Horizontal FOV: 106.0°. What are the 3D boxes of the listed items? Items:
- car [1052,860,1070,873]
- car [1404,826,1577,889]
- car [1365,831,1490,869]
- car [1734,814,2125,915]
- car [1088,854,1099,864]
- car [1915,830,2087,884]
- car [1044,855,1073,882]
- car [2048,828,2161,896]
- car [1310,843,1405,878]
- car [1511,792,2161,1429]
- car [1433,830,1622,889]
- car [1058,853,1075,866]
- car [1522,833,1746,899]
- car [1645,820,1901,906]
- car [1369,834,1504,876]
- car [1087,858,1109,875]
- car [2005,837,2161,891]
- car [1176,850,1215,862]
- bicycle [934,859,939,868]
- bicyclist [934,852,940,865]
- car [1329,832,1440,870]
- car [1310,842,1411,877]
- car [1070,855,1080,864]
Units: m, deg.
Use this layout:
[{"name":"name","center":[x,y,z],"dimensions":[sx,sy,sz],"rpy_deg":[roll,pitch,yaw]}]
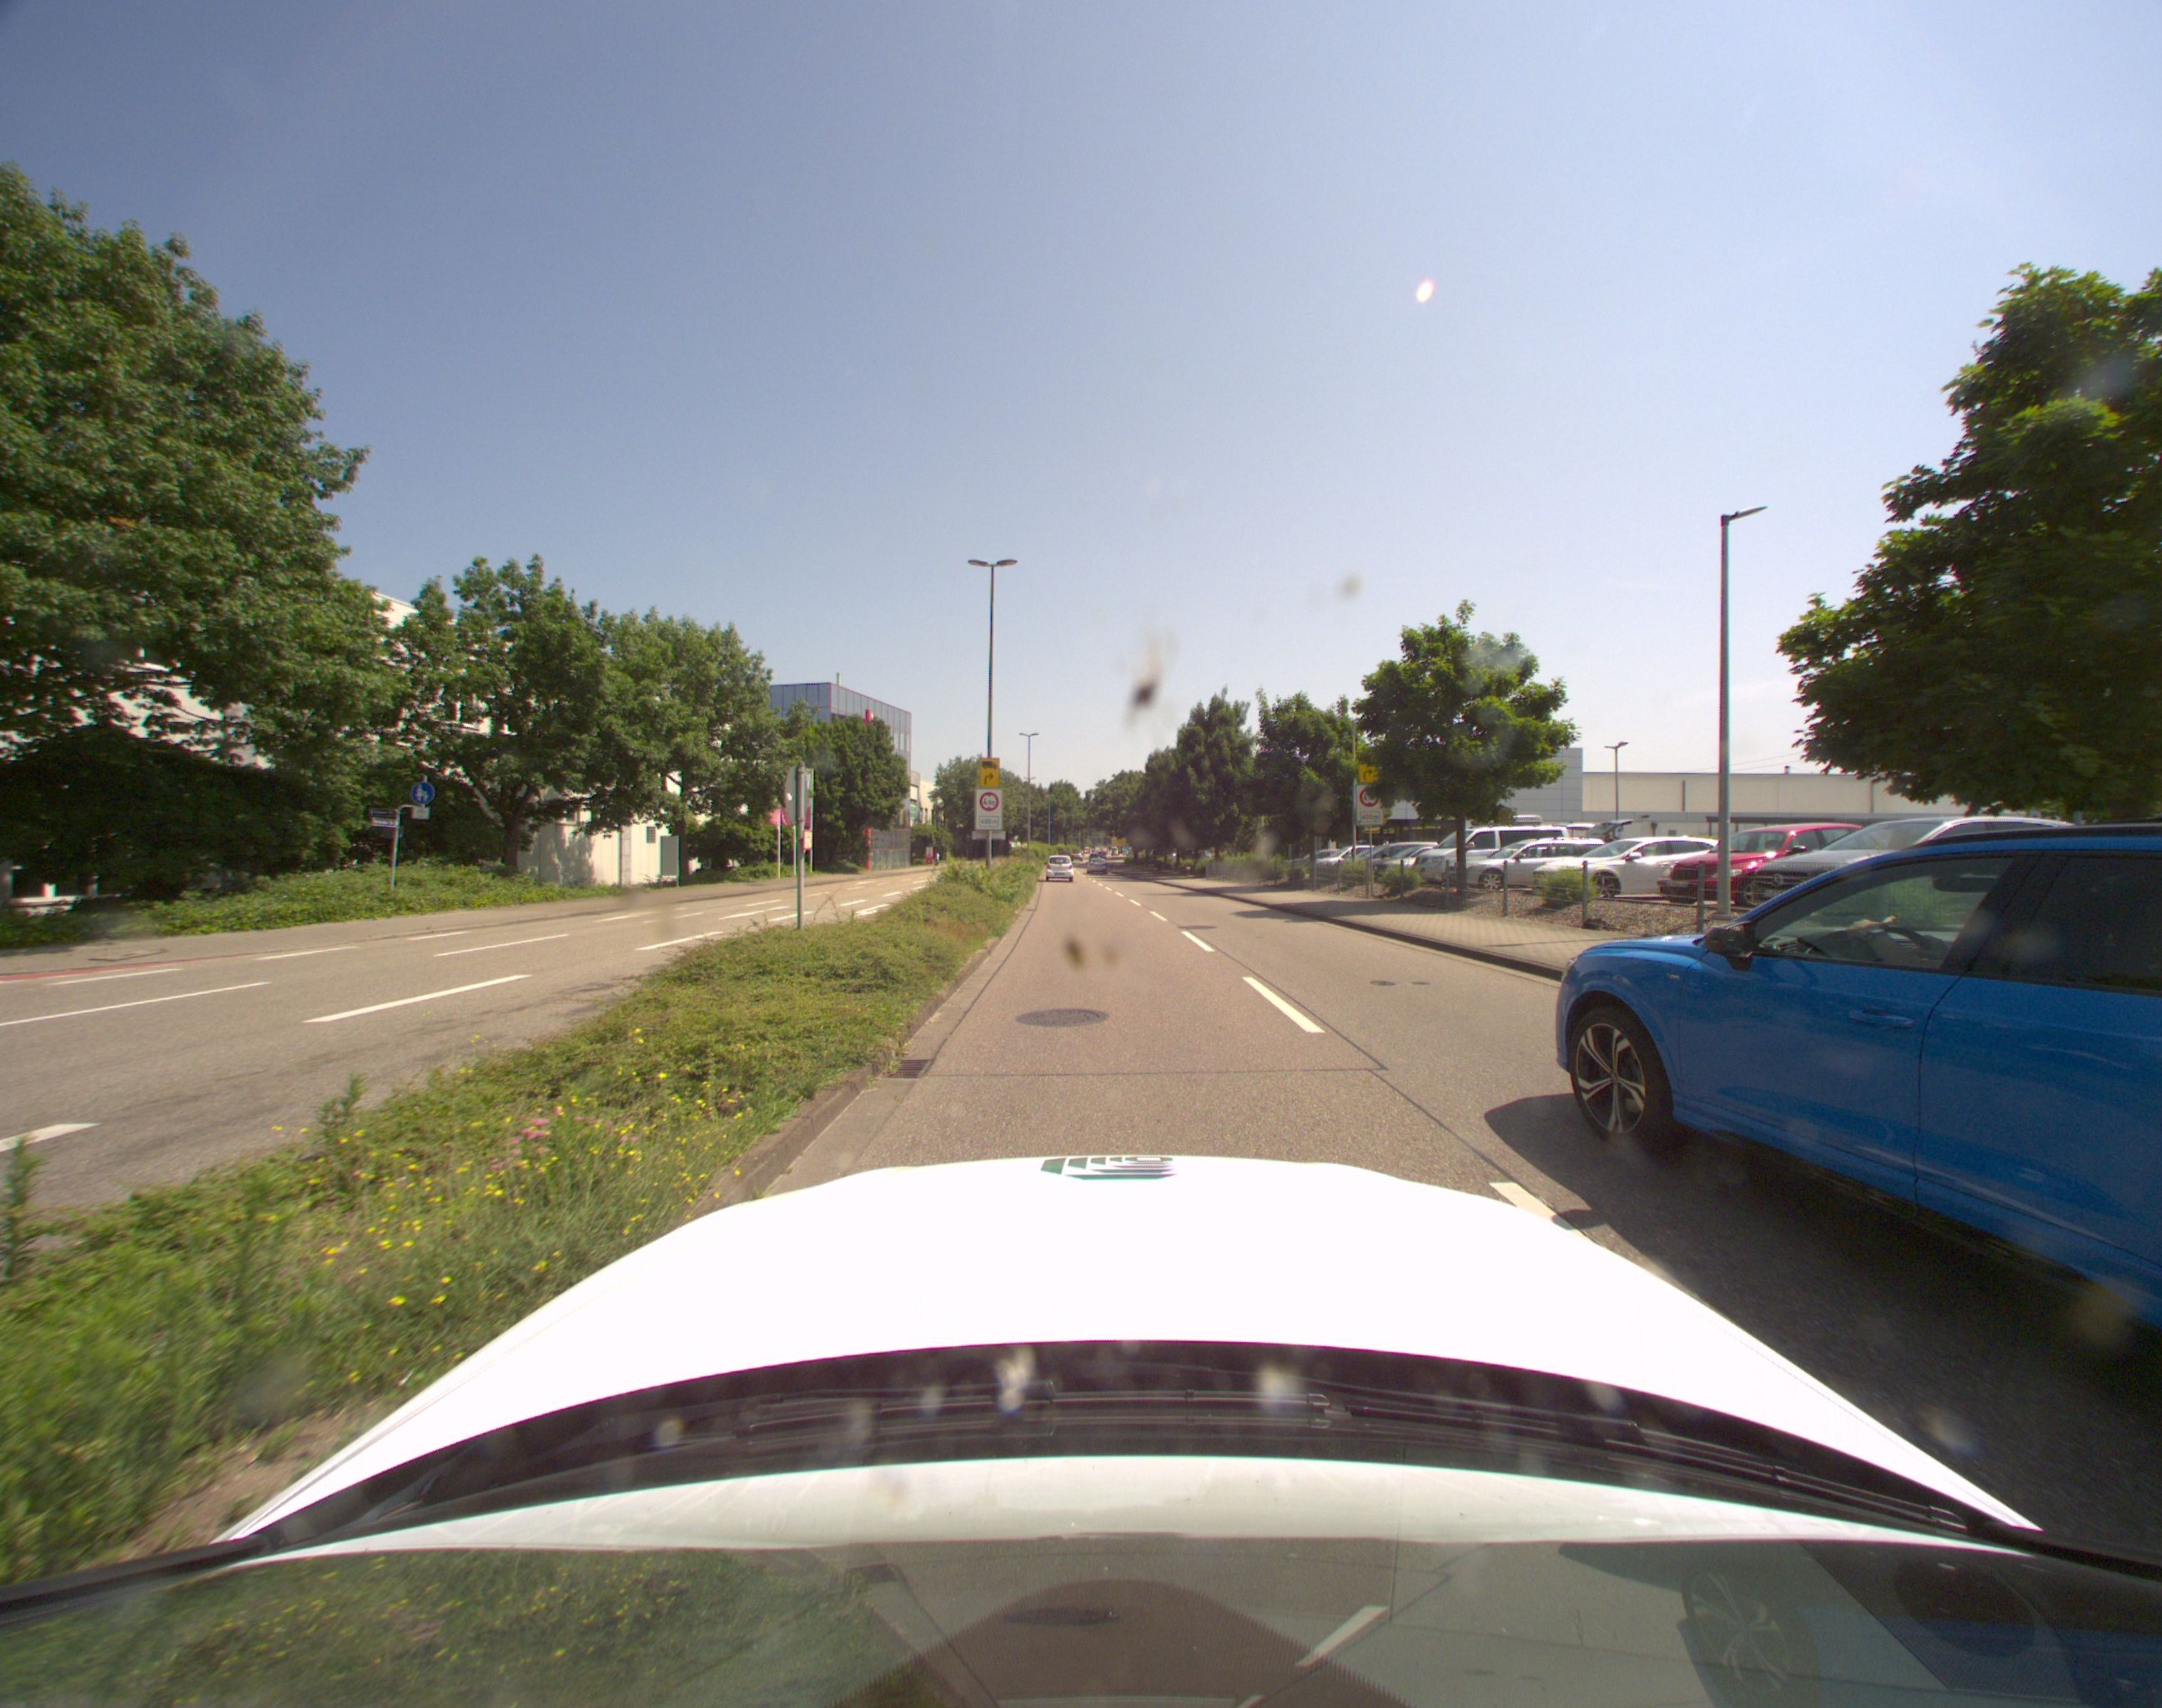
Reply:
[{"name":"car","center":[-2.117,1.305,87.024],"dimensions":[1.879,1.354,3.999],"rpy_deg":[1,0,0]},{"name":"car","center":[12.905,0.105,25.860],"dimensions":[4.603,1.924,1.826],"rpy_deg":[0,0,-1]},{"name":"car","center":[13.065,-0.141,30.861],"dimensions":[3.975,1.389,1.826],"rpy_deg":[0,0,-1]},{"name":"car","center":[12.695,0.147,12.388],"dimensions":[4.155,1.421,1.698],"rpy_deg":[0,0,1]},{"name":"car","center":[1.832,0.725,117.852],"dimensions":[1.437,1.348,3.457],"rpy_deg":[-1,0,-2]},{"name":"car","center":[26.504,0.088,23.609],"dimensions":[1.261,1.420,3.250],"rpy_deg":[-1,0,-2]},{"name":"car","center":[-1.289,0.844,48.423],"dimensions":[1.633,1.552,3.324],"rpy_deg":[1,0,0]},{"name":"car","center":[23.335,0.141,16.894],"dimensions":[1.724,1.420,3.997],"rpy_deg":[-1,0,-2]},{"name":"car","center":[13.311,0.323,39.389],"dimensions":[3.980,1.596,1.824],"rpy_deg":[1,0,-5]},{"name":"car","center":[3.589,0.619,2.909],"dimensions":[1.803,1.593,4.349],"rpy_deg":[-2,0,0]},{"name":"car","center":[12.471,0.136,22.956],"dimensions":[4.351,1.593,1.827],"rpy_deg":[0,0,1]},{"name":"car","center":[-1.847,0.705,103.367],"dimensions":[1.877,1.608,4.003],"rpy_deg":[-1,0,3]},{"name":"car","center":[12.453,0.258,18.508],"dimensions":[3.984,1.421,1.697],"rpy_deg":[0,0,-1]},{"name":"car","center":[13.067,0.168,15.517],"dimensions":[3.583,1.537,1.720],"rpy_deg":[0,0,-5]},{"name":"car","center":[12.393,0.034,28.554],"dimensions":[3.975,1.389,1.826],"rpy_deg":[0,0,-1]},{"name":"car","center":[1.537,1.129,74.101],"dimensions":[1.859,1.473,4.000],"rpy_deg":[1,0,0]},{"name":"car","center":[28.553,0.257,23.114],"dimensions":[1.261,1.420,2.955],"rpy_deg":[-1,0,-2]},{"name":"car","center":[13.720,0.254,97.694],"dimensions":[1.962,1.352,4.663],"rpy_deg":[-1,0,-36]},{"name":"bicycle","center":[-17.009,1.105,95.830],"dimensions":[0.345,1.067,0.922],"rpy_deg":[-2,-1,-2]},{"name":"bicyclist","center":[-16.939,0.526,95.865],"dimensions":[0.544,1.509,0.343],"rpy_deg":[-2,-1,-2]},{"name":"car","center":[12.639,-0.095,34.033],"dimensions":[3.975,1.534,1.826],"rpy_deg":[0,-1,-1]},{"name":"car","center":[12.682,0.280,37.100],"dimensions":[3.982,1.534,1.823],"rpy_deg":[0,-1,-6]},{"name":"car","center":[-0.883,0.803,127.544],"dimensions":[1.483,1.392,3.305],"rpy_deg":[1,0,-2]}]
